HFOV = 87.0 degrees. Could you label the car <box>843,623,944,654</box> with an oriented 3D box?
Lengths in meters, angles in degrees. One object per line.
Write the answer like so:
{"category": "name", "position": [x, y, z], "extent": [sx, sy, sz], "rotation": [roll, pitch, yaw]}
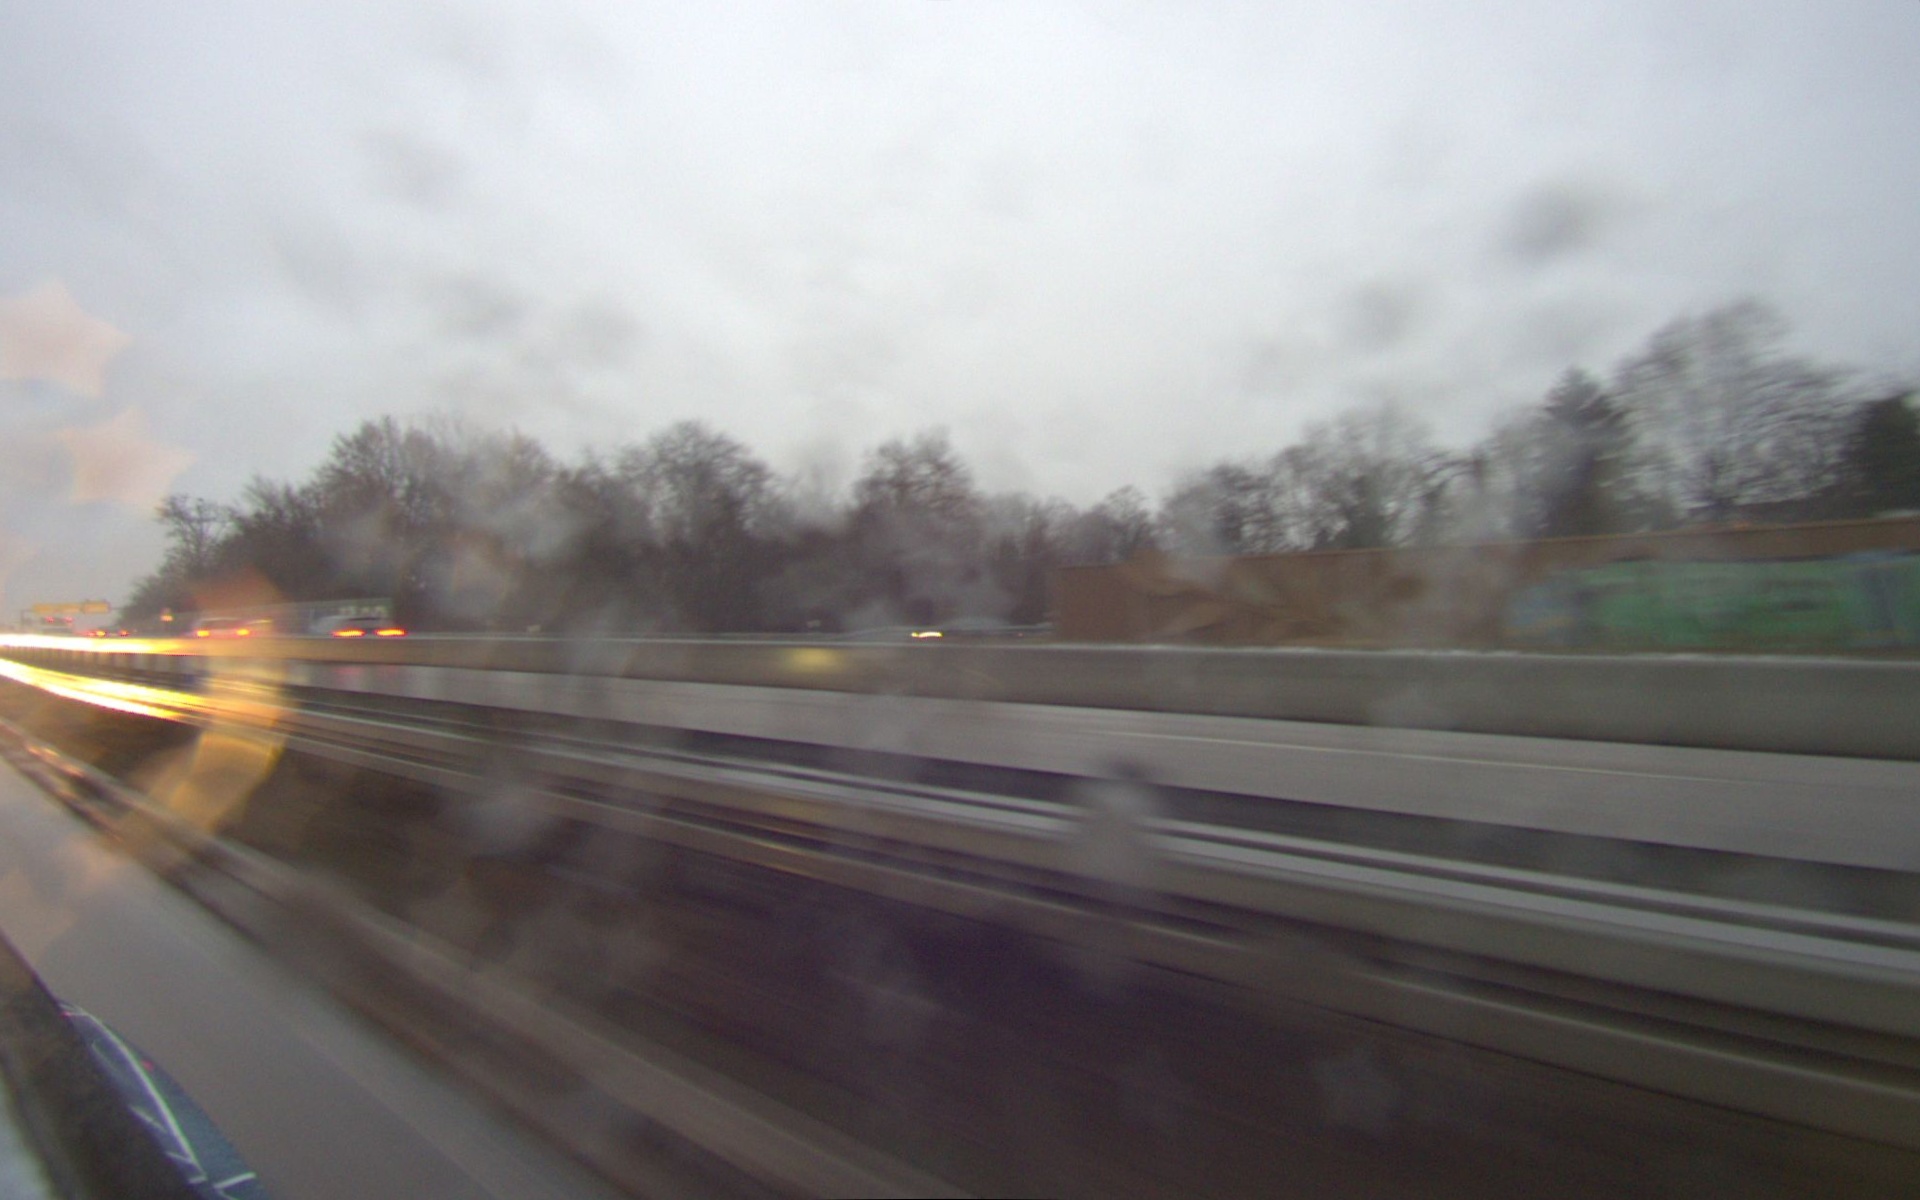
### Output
{"category": "car", "position": [-2.836, 1.605, 42.890], "extent": [3.931, 1.170, 1.808], "rotation": [-1, 0, -18]}

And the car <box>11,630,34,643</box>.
{"category": "car", "position": [-115.480, 4.483, 124.684], "extent": [4.673, 1.493, 1.843], "rotation": [-1, 0, 44]}

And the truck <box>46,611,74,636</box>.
{"category": "truck", "position": [-146.494, 3.847, 164.695], "extent": [3.042, 3.886, 9.376], "rotation": [-1, 0, -44]}

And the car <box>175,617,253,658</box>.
{"category": "car", "position": [-32.697, 1.621, 44.334], "extent": [4.644, 1.639, 1.846], "rotation": [-1, 0, 42]}

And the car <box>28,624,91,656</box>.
{"category": "car", "position": [-44.487, 1.929, 49.962], "extent": [4.644, 1.460, 1.846], "rotation": [-1, 0, 42]}

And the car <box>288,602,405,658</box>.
{"category": "car", "position": [-19.435, 0.926, 31.970], "extent": [4.778, 1.639, 1.846], "rotation": [-1, 0, 42]}

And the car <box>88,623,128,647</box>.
{"category": "car", "position": [-61.768, 2.536, 73.324], "extent": [4.179, 1.619, 1.708], "rotation": [-1, 0, 43]}
